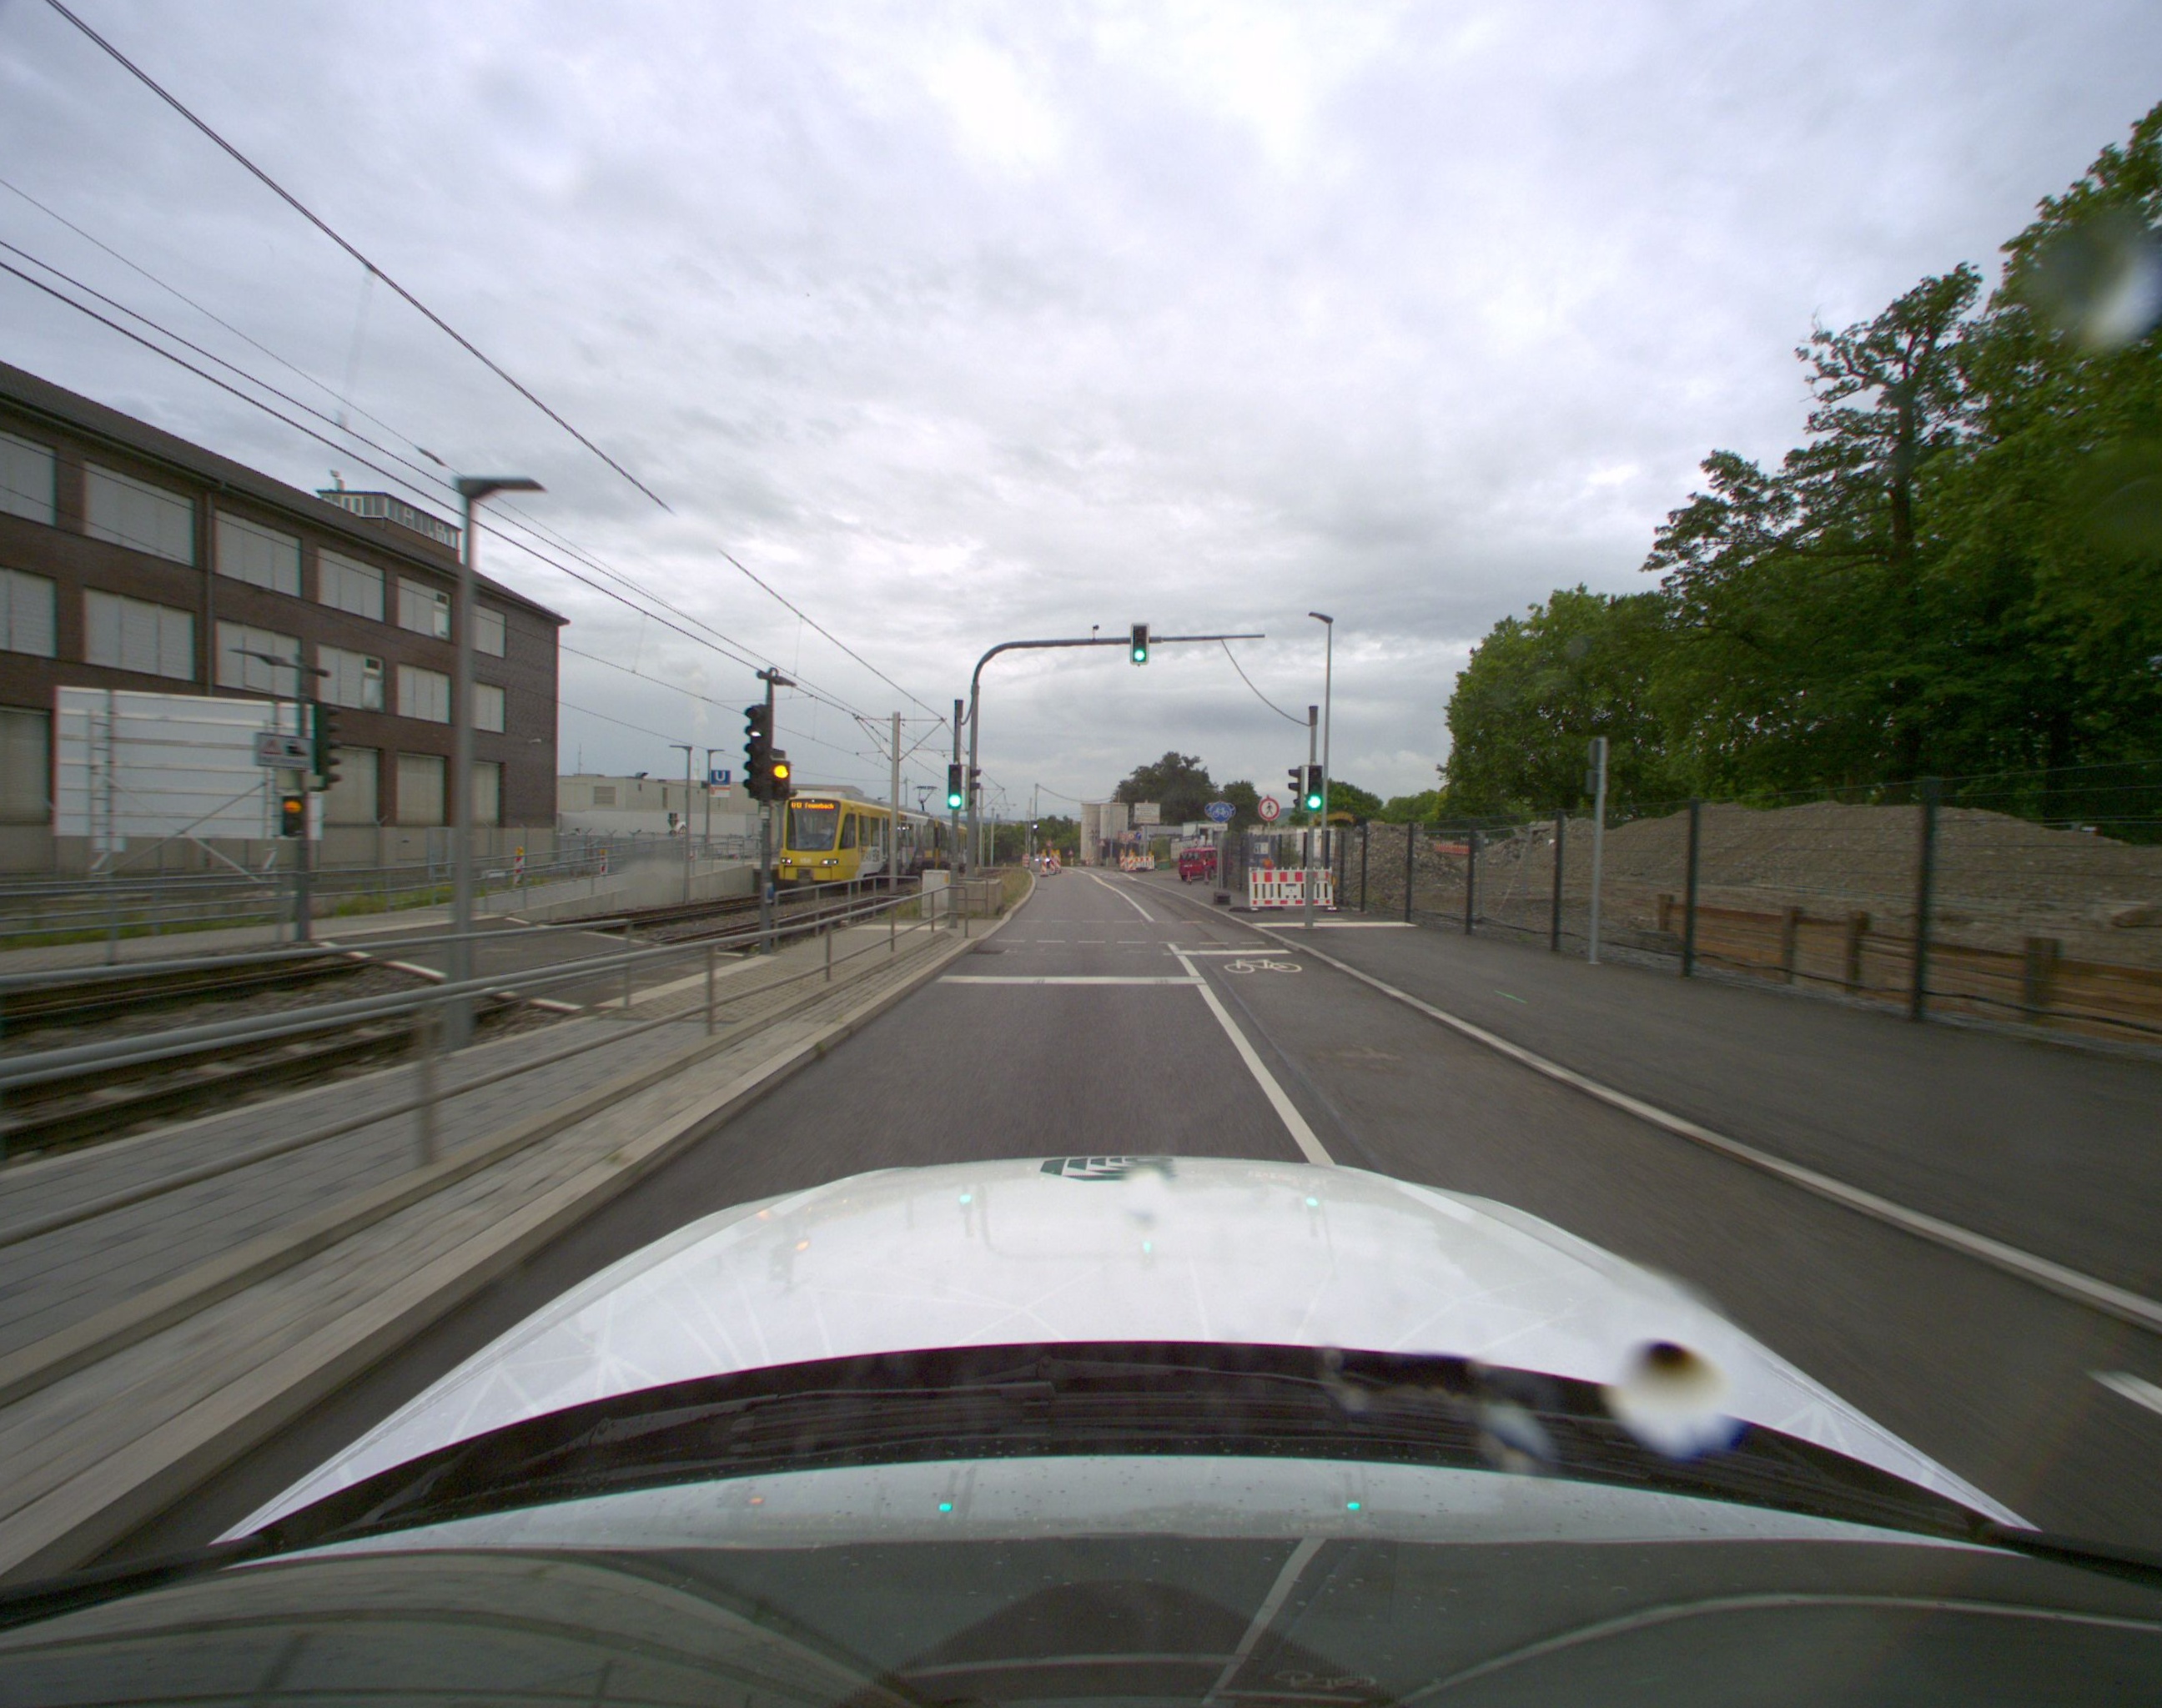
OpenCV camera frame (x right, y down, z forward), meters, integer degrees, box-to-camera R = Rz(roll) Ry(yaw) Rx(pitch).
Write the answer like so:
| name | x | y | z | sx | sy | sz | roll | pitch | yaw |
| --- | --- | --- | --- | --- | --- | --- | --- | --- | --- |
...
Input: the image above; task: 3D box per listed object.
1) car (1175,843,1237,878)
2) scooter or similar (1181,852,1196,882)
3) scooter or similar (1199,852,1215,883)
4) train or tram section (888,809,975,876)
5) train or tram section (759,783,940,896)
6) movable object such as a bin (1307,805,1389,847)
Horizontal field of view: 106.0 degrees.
| name | x | y | z | sx | sy | sz | roll | pitch | yaw |
| --- | --- | --- | --- | --- | --- | --- | --- | --- | --- |
| car | 6.695 | 0.307 | 43.218 | 1.802 | 1.794 | 4.436 | 0 | 0 | 29 |
| scooter or similar | 4.966 | 0.570 | 37.679 | 0.612 | 1.351 | 1.915 | 0 | 0 | 5 |
| scooter or similar | 5.760 | 0.589 | 37.322 | 0.612 | 1.351 | 1.915 | 0 | 0 | 5 |
| train or tram section | -10.071 | -0.725 | 57.640 | 2.947 | 3.886 | 19.279 | 1 | 0 | -1 |
| train or tram section | -9.777 | -0.553 | 38.214 | 2.946 | 3.886 | 19.567 | 1 | 0 | 0 |
| movable object such as a bin | 39.594 | -4.052 | 121.096 | 11.174 | 5.995 | 3.497 | 0 | 0 | 6 |
